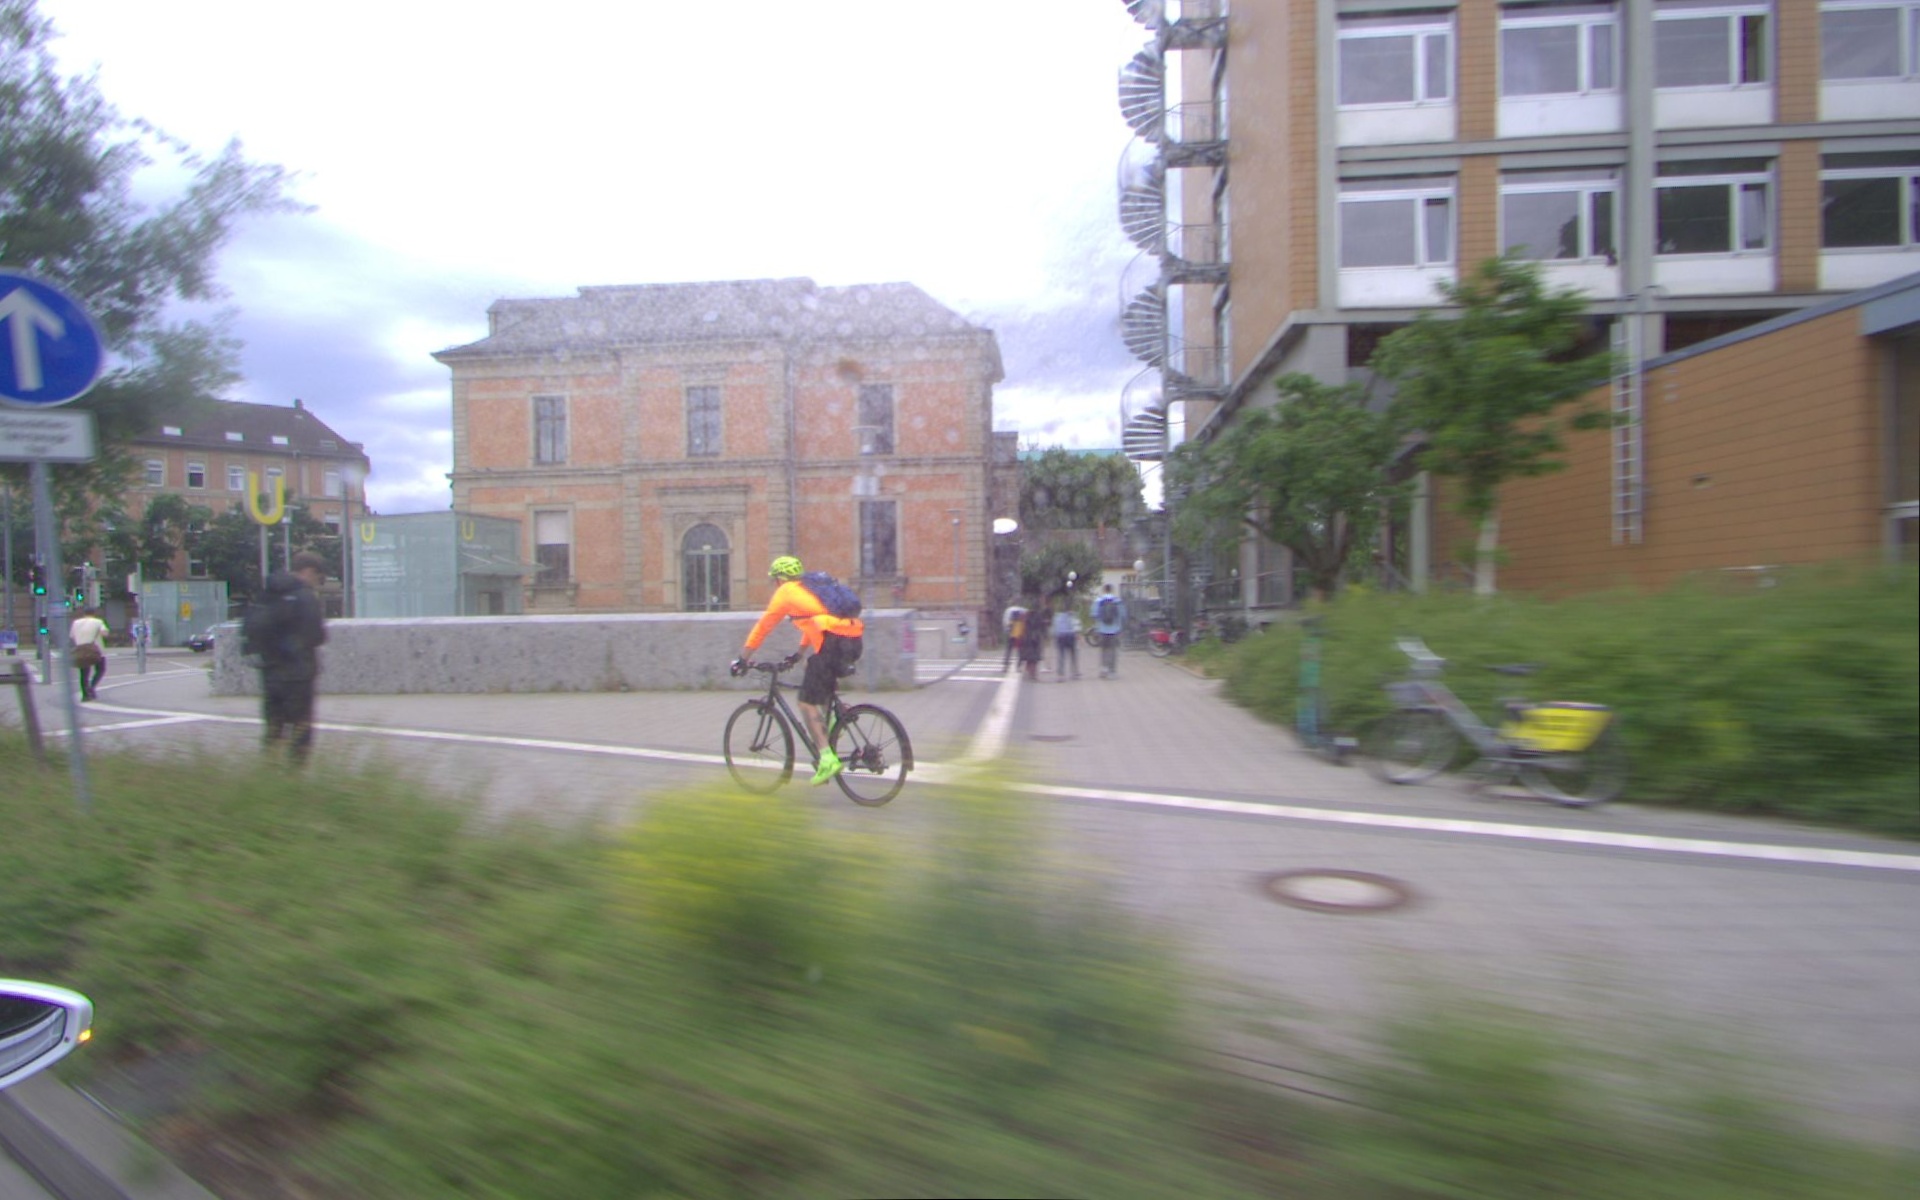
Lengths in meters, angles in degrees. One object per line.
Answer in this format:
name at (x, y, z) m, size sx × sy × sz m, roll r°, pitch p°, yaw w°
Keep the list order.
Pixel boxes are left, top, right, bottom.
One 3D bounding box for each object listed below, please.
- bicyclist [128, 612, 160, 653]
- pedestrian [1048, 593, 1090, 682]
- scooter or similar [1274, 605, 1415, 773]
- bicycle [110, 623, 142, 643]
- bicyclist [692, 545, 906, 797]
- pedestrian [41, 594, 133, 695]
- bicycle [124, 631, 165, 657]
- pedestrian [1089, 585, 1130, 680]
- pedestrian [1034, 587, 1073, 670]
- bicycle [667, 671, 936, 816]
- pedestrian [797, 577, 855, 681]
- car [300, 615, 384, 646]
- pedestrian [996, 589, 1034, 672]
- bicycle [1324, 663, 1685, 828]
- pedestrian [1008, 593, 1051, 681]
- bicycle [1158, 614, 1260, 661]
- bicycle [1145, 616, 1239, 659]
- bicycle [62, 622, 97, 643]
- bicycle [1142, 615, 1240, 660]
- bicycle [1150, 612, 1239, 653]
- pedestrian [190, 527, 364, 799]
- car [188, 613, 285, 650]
bicyclist at (-33.156, 1.315, 40.711) m, size 0.681 × 1.582 × 0.924 m, roll -2°, pitch 2°, yaw -20°
pedestrian at (2.095, 0.705, 19.118) m, size 0.711 × 1.652 × 0.873 m, roll 0°, pitch 0°, yaw 12°
scooter or similar at (3.265, 0.727, 8.663) m, size 0.681 × 1.306 × 1.605 m, roll 0°, pitch -2°, yaw 4°
bicycle at (-57.739, 2.277, 69.360) m, size 0.946 × 1.371 × 3.109 m, roll 1°, pitch -2°, yaw -26°
bicyclist at (-1.161, 0.479, 7.220) m, size 1.302 × 1.642 × 0.825 m, roll -1°, pitch 0°, yaw 32°
pedestrian at (-16.882, 0.838, 19.398) m, size 0.872 × 1.892 × 1.284 m, roll 0°, pitch 0°, yaw -17°
bicycle at (-33.114, 1.786, 40.694) m, size 0.661 × 0.946 × 1.854 m, roll -3°, pitch 1°, yaw -19°
pedestrian at (2.848, 0.609, 19.014) m, size 0.711 × 1.759 × 0.873 m, roll 0°, pitch 0°, yaw 12°
pedestrian at (2.019, 0.624, 21.791) m, size 0.710 × 1.765 × 0.874 m, roll 0°, pitch 0°, yaw -3°
bicycle at (-1.179, 0.973, 7.185) m, size 2.043 × 0.859 × 0.555 m, roll -1°, pitch -1°, yaw 32°
pedestrian at (-2.398, 0.523, 17.996) m, size 0.824 × 1.829 × 0.703 m, roll 0°, pitch 0°, yaw 16°
car at (-40.818, 1.987, 66.279) m, size 1.833 × 1.941 × 5.099 m, roll 0°, pitch -1°, yaw 10°
pedestrian at (1.177, 0.653, 21.575) m, size 0.710 × 1.753 × 0.874 m, roll 0°, pitch 0°, yaw -3°
bicycle at (3.510, 0.889, 6.661) m, size 0.552 × 0.859 × 2.056 m, roll 0°, pitch -1°, yaw -39°
pedestrian at (1.349, 0.709, 19.293) m, size 0.711 × 1.652 × 0.873 m, roll 0°, pitch 0°, yaw 12°
bicycle at (6.150, 0.926, 24.726) m, size 2.336 × 1.137 × 0.832 m, roll 1°, pitch -2°, yaw -16°
bicycle at (6.230, 1.012, 26.949) m, size 2.334 × 1.137 × 0.833 m, roll 1°, pitch -2°, yaw -12°
bicycle at (-59.788, 2.219, 68.019) m, size 0.946 × 1.371 × 3.109 m, roll 1°, pitch -2°, yaw -26°
bicycle at (5.931, 0.965, 25.770) m, size 2.334 × 1.137 × 0.833 m, roll 1°, pitch -2°, yaw -12°
bicycle at (6.604, 0.929, 28.255) m, size 2.334 × 1.137 × 0.833 m, roll 1°, pitch -2°, yaw -12°
pedestrian at (-5.163, 0.461, 7.625) m, size 0.710 × 1.953 × 0.874 m, roll 0°, pitch 0°, yaw 2°
car at (-39.455, 1.725, 54.738) m, size 1.662 × 1.925 × 4.386 m, roll 0°, pitch -1°, yaw 9°
